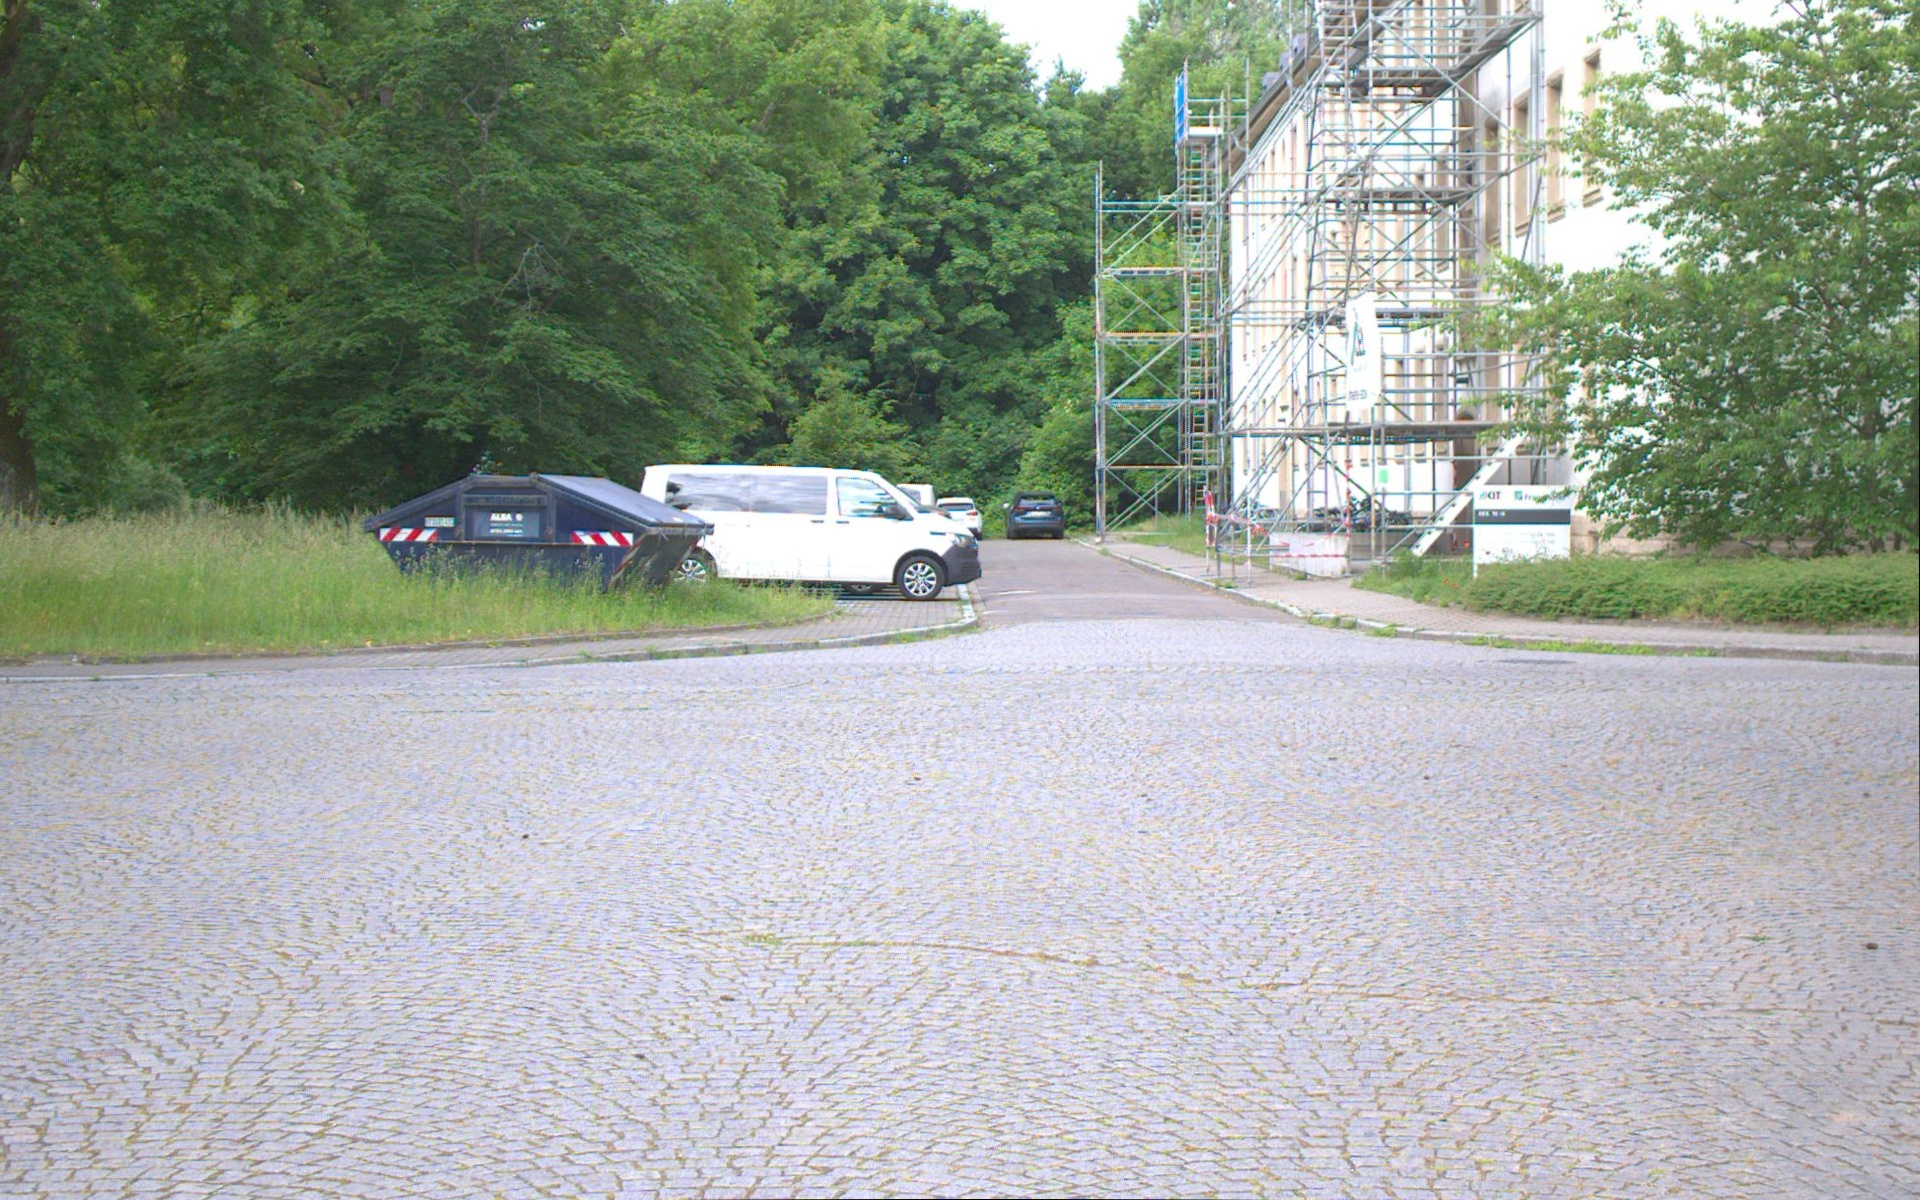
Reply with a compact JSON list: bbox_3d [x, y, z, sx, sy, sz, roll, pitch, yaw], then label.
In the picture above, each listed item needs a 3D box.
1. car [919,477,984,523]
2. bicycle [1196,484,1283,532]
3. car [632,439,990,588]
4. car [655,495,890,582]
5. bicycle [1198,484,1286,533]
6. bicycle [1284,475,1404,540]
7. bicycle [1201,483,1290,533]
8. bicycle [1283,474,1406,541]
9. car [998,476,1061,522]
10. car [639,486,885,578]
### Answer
[{"bbox_3d":[-0.312,-3.422,117.464,2.118,1.516,4.001,0,2,-1],"label":"car"},{"bbox_3d":[7.338,-2.412,90.243,2.240,1.250,0.634,0,2,2],"label":"bicycle"},{"bbox_3d":[-2.228,-1.311,51.495,5.234,2.160,2.000,0,2,-2],"label":"car"},{"bbox_3d":[-3.065,-1.022,56.633,3.788,1.390,2.000,0,2,-2],"label":"car"},{"bbox_3d":[7.337,-2.390,89.399,2.240,1.250,0.698,0,2,2],"label":"bicycle"},{"bbox_3d":[7.399,-1.788,66.349,2.240,1.250,0.777,0,2,2],"label":"bicycle"},{"bbox_3d":[7.332,-2.358,88.210,2.240,1.250,0.627,0,2,2],"label":"bicycle"},{"bbox_3d":[7.200,-1.735,64.438,2.240,1.250,0.777,0,2,2],"label":"bicycle"},{"bbox_3d":[2.364,-3.465,117.756,1.951,1.516,4.001,0,2,-2],"label":"car"},{"bbox_3d":[-3.105,-1.083,54.098,3.788,1.390,2.000,0,2,-3],"label":"car"}]
